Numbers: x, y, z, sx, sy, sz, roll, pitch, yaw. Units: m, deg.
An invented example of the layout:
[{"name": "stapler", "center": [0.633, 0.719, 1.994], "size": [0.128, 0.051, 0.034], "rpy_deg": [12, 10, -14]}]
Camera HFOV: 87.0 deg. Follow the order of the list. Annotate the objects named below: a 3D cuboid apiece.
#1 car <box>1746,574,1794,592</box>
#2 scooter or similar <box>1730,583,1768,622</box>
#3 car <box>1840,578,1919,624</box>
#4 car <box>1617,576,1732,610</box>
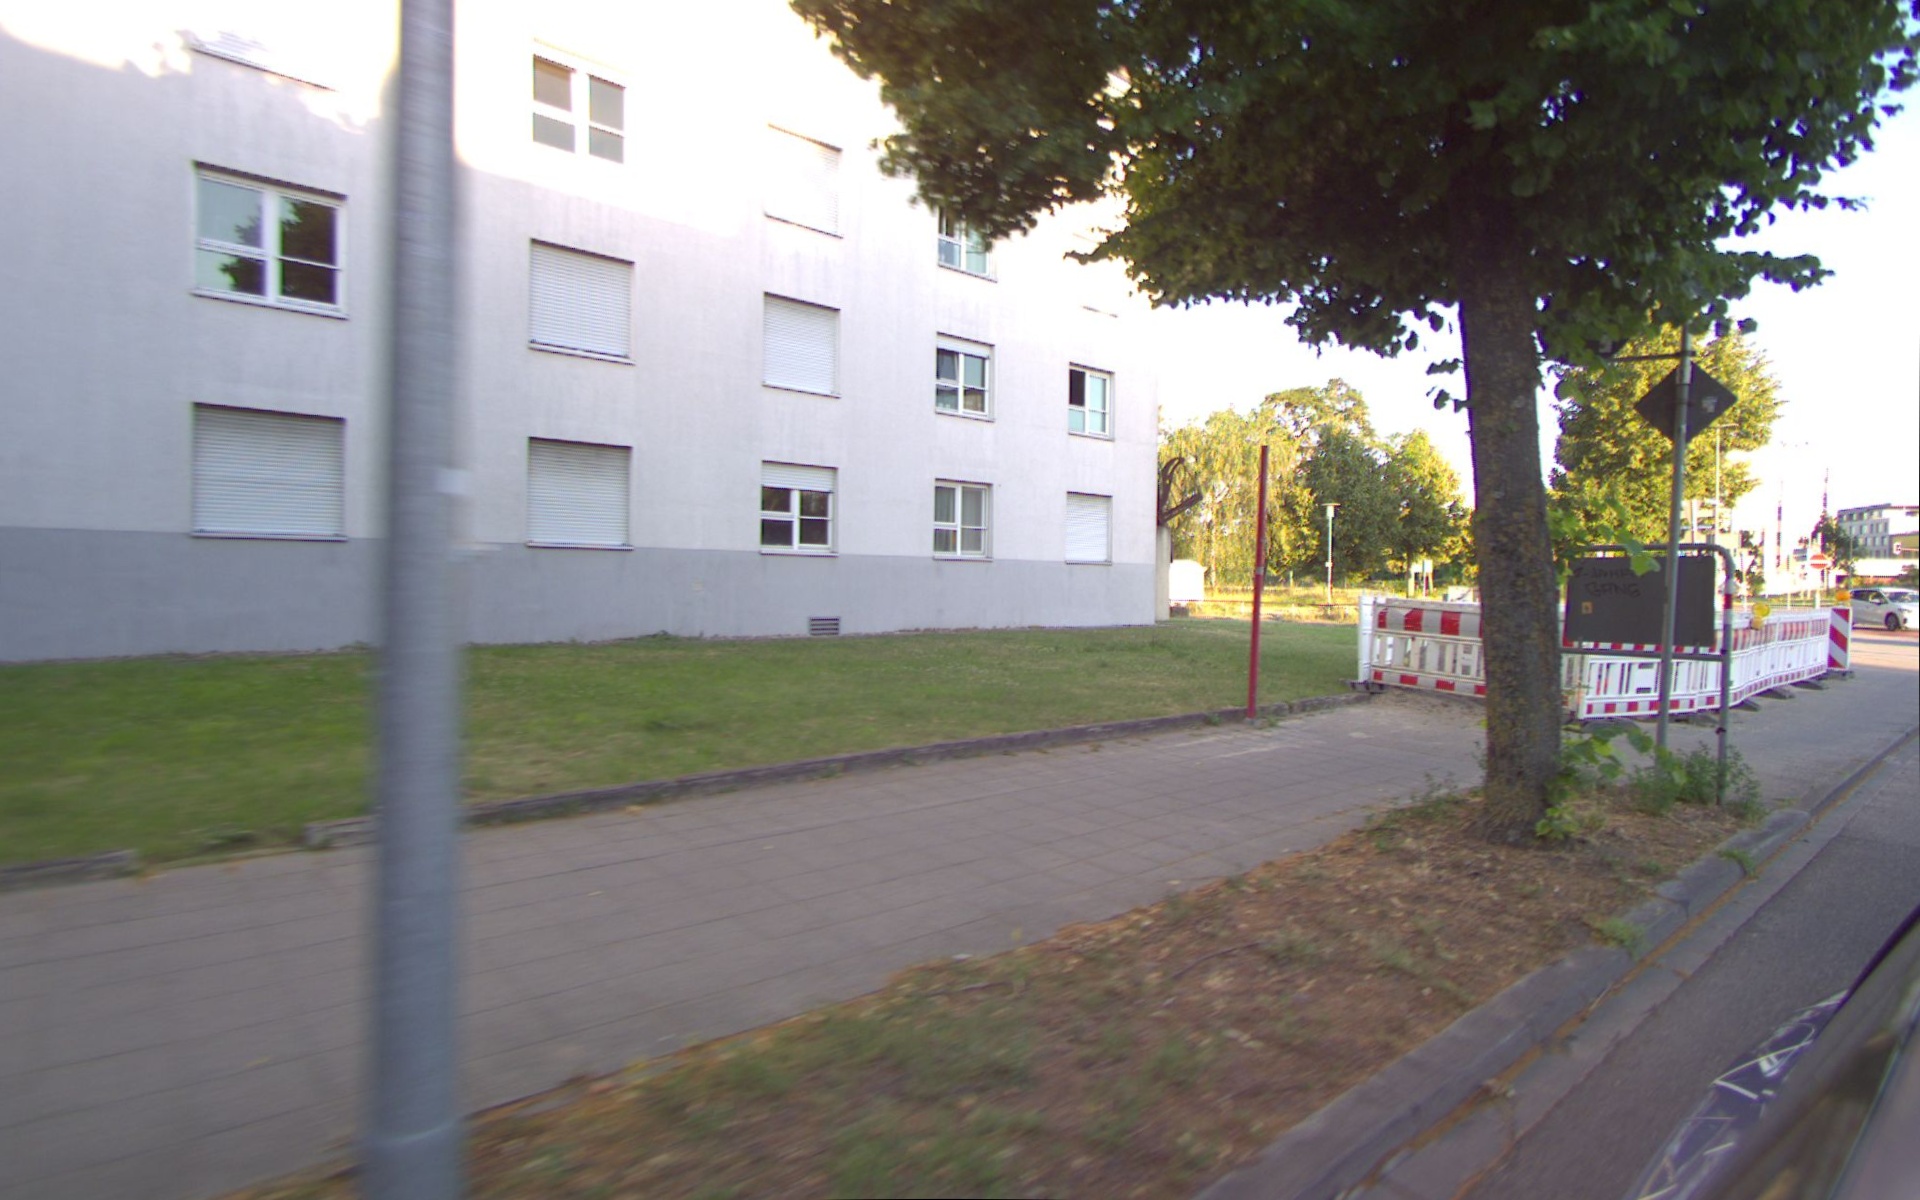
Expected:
[{"name": "car", "center": [60.989, -1.274, 76.259], "size": [1.600, 1.285, 3.790], "rpy_deg": [1, 2, 20]}, {"name": "scooter or similar", "center": [25.557, 0.084, 32.794], "size": [1.141, 1.251, 0.197], "rpy_deg": [-1, 1, -6]}, {"name": "car", "center": [35.106, -0.001, 37.469], "size": [1.763, 1.576, 4.397], "rpy_deg": [0, 2, 11]}, {"name": "car", "center": [35.606, -0.375, 50.552], "size": [1.754, 1.576, 4.419], "rpy_deg": [-1, 2, -23]}]
